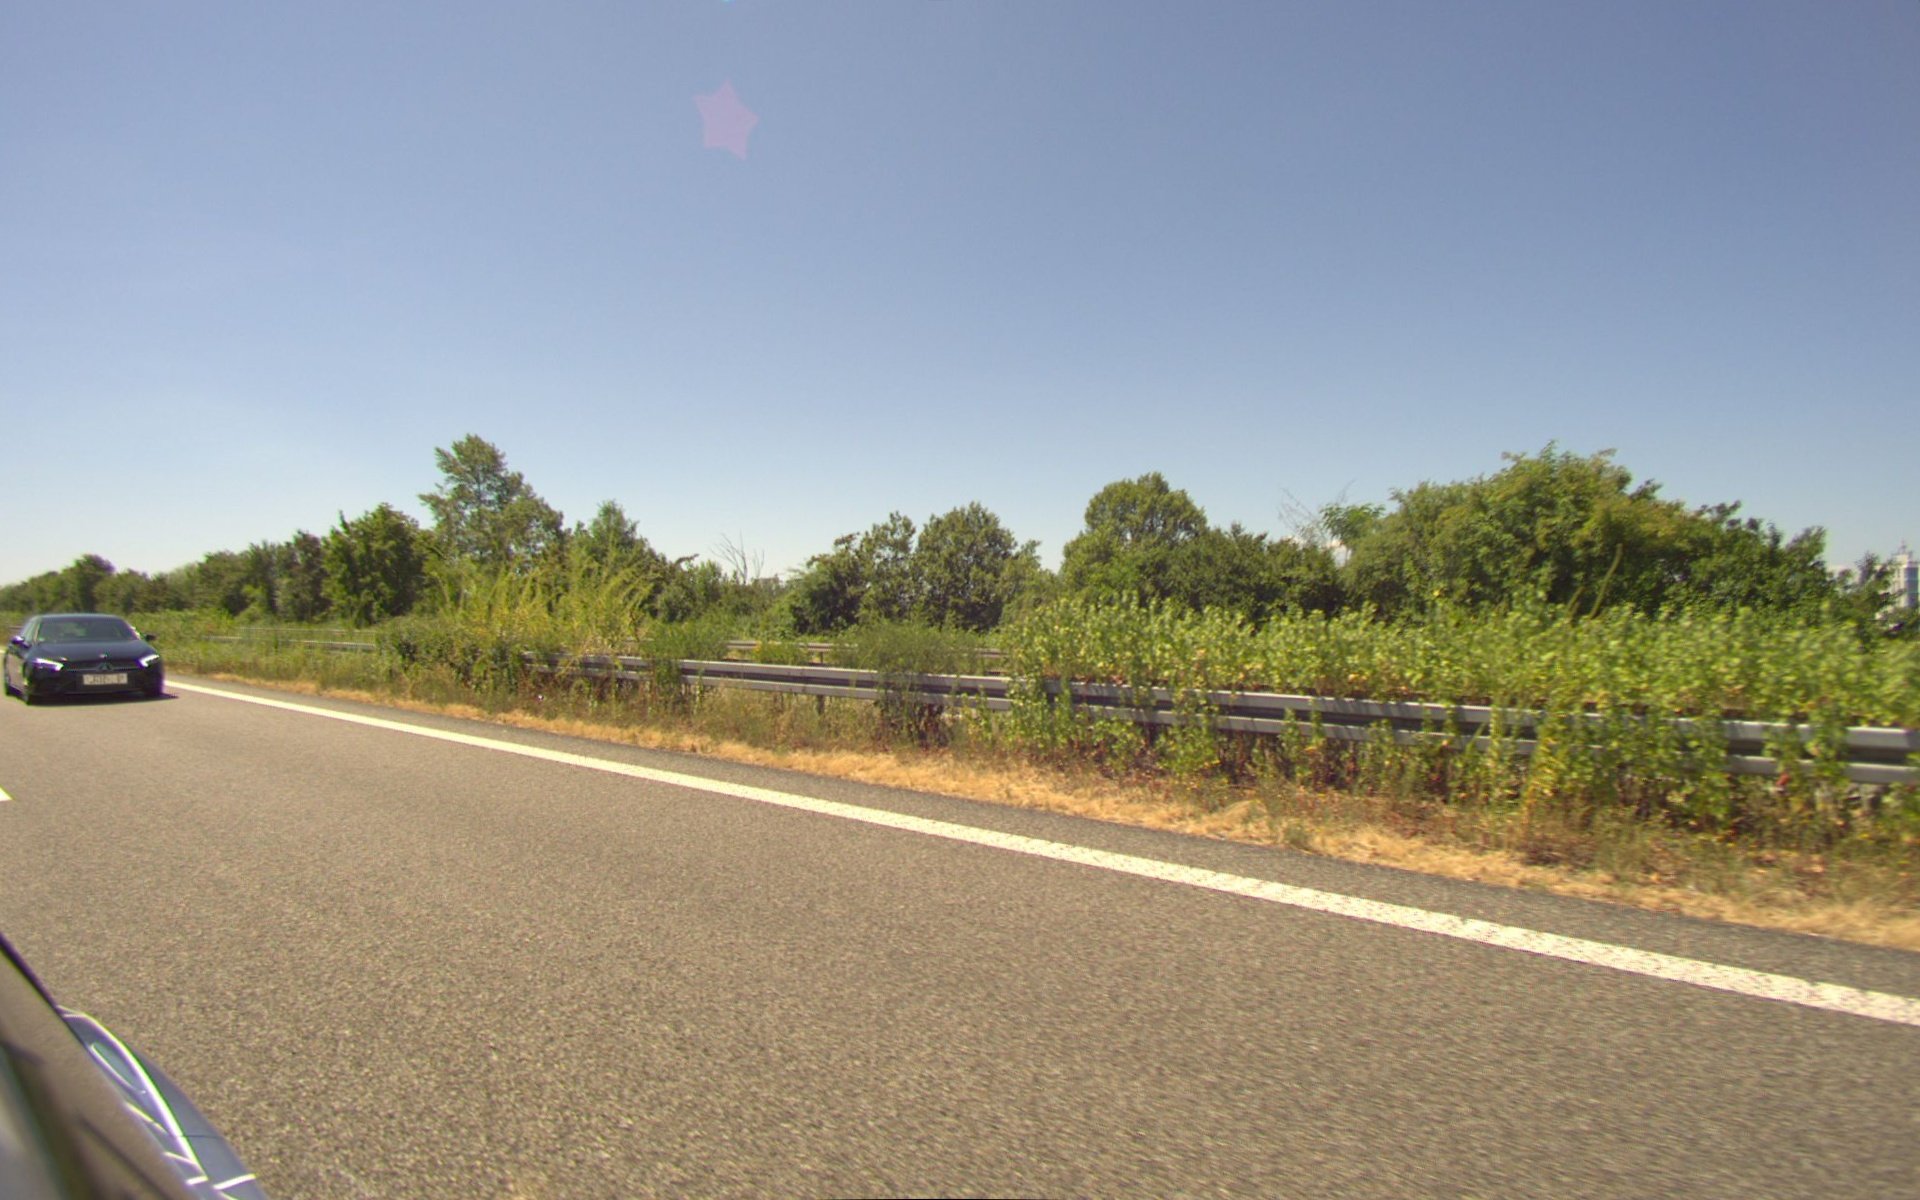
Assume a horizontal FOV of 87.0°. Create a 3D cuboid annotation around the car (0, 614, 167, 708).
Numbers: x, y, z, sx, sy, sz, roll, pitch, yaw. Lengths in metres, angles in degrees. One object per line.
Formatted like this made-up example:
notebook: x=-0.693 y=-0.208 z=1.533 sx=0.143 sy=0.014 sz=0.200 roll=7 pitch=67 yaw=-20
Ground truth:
car: x=-15.350 y=0.974 z=17.570 sx=4.050 sy=1.422 sz=1.773 roll=-1 pitch=-1 yaw=41
